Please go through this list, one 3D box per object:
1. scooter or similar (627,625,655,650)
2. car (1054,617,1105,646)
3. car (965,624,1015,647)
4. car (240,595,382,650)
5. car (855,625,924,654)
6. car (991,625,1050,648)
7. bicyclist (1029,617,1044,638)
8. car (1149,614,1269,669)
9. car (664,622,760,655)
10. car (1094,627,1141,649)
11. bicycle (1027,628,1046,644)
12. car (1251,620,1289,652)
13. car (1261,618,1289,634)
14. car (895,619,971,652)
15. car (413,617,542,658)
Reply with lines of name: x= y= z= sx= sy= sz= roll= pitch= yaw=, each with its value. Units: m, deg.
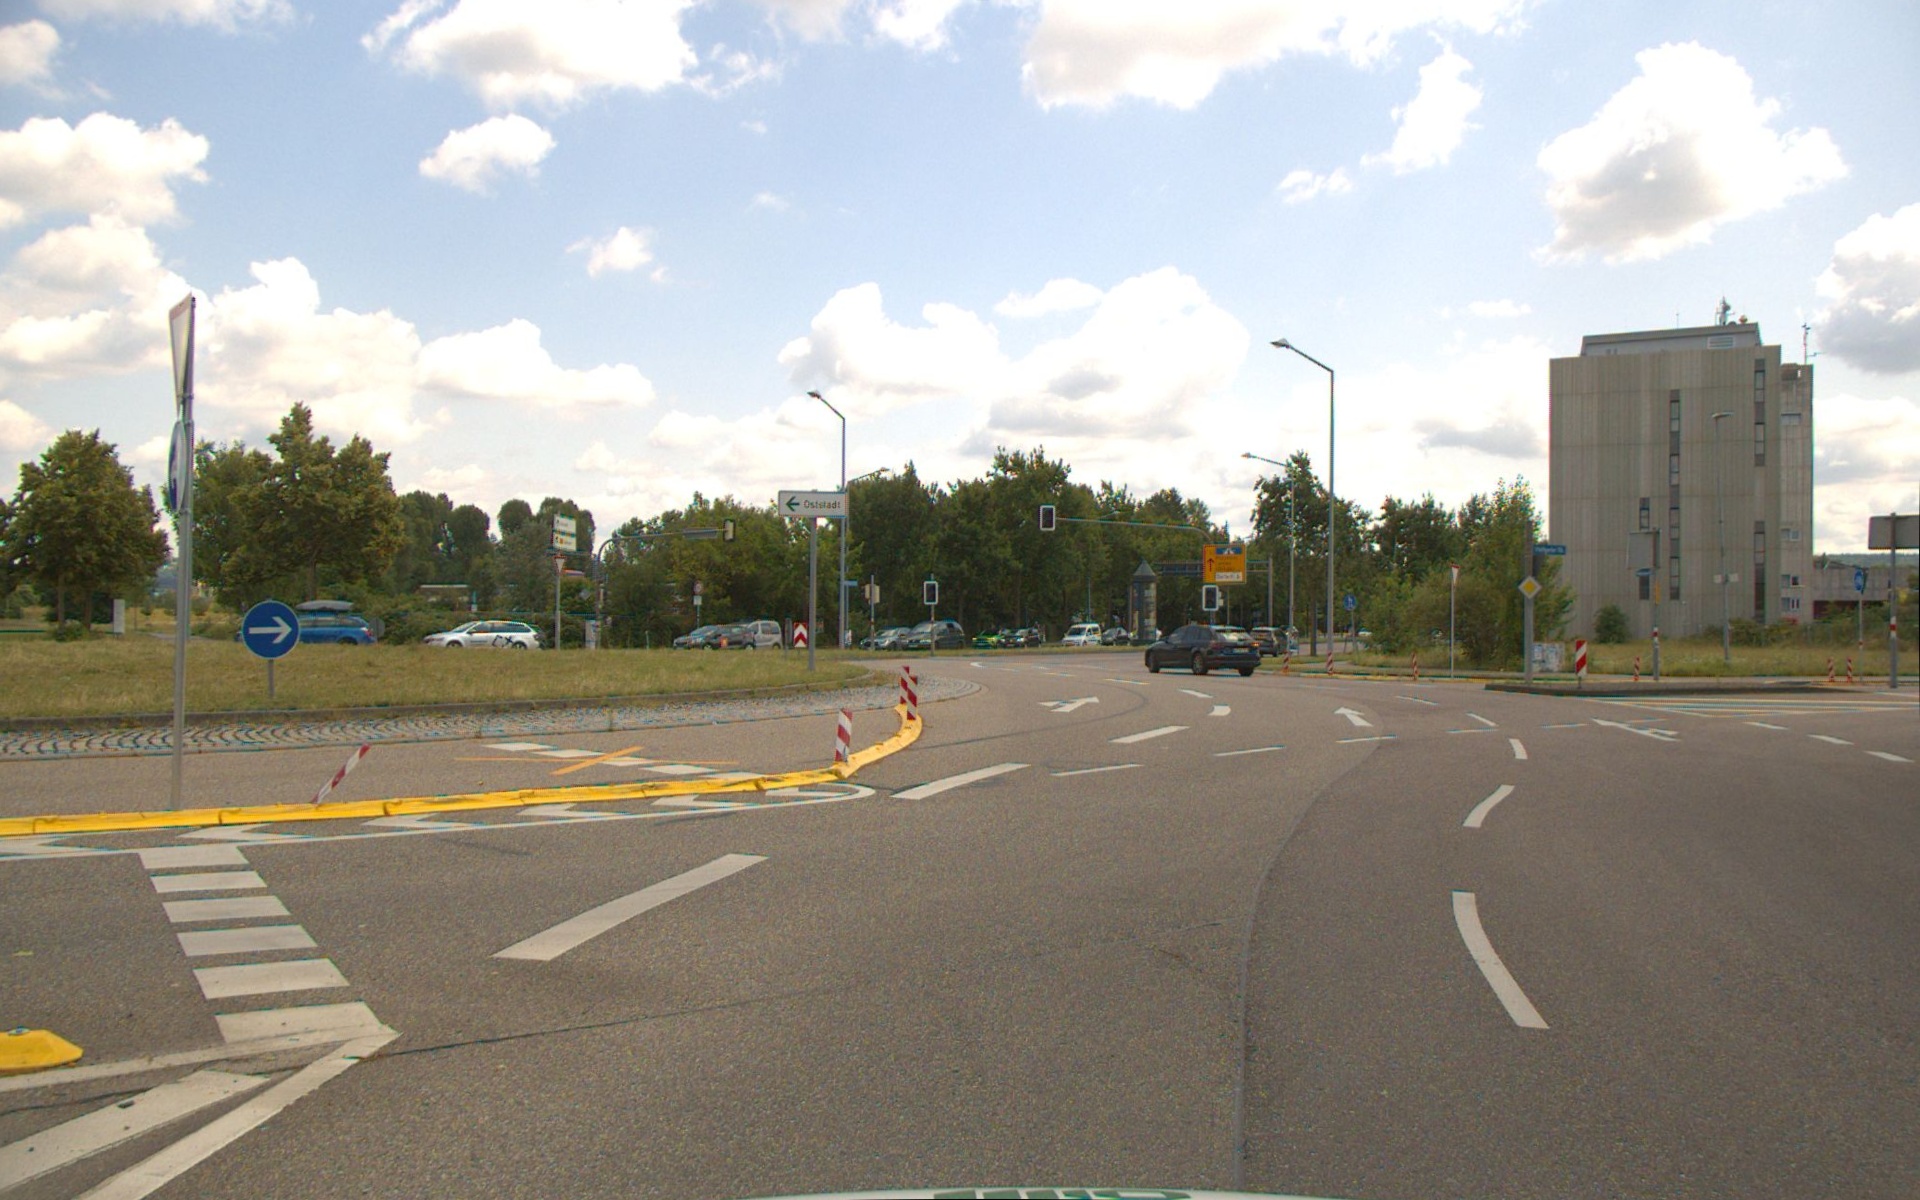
scooter or similar: x=-15.258 y=1.786 z=79.135 sx=0.530 sy=1.186 sz=1.438 roll=0 pitch=-1 yaw=29
car: x=8.109 y=2.142 z=111.681 sx=1.801 sy=1.831 sz=4.783 roll=-2 pitch=-2 yaw=25
car: x=1.919 y=2.259 z=105.401 sx=1.584 sy=1.372 sz=4.167 roll=-2 pitch=-2 yaw=25
car: x=-22.495 y=0.772 z=57.344 sx=4.350 sy=1.830 sz=1.737 roll=1 pitch=0 yaw=-32
car: x=-3.635 y=2.058 z=86.281 sx=1.867 sy=1.448 sz=4.188 roll=0 pitch=-1 yaw=25
car: x=3.790 y=2.264 z=102.707 sx=1.802 sy=1.333 sz=4.781 roll=-2 pitch=-2 yaw=27
bicyclist: x=6.014 y=2.140 z=129.702 sx=0.813 sy=1.592 sz=0.883 roll=2 pitch=0 yaw=25
car: x=7.291 y=1.187 z=48.740 sx=1.661 sy=1.489 sz=3.971 roll=2 pitch=-1 yaw=-23
car: x=-11.035 y=1.707 z=73.809 sx=3.949 sy=1.364 sz=1.773 roll=0 pitch=-2 yaw=-44
car: x=11.147 y=2.691 z=116.904 sx=1.801 sy=1.506 sz=4.749 roll=-2 pitch=-2 yaw=25
bicycle: x=5.982 y=2.831 z=129.706 sx=0.746 sy=1.240 sz=2.015 roll=2 pitch=0 yaw=24
car: x=17.398 y=2.003 z=92.805 sx=1.951 sy=1.654 sz=4.313 roll=-1 pitch=0 yaw=12
car: x=33.121 y=2.723 z=173.844 sx=1.728 sy=1.605 sz=5.028 roll=-1 pitch=-1 yaw=24
car: x=-1.322 y=1.787 z=83.568 sx=1.871 sy=1.620 sz=4.585 roll=0 pitch=-1 yaw=28
car: x=-19.033 y=1.450 z=65.330 sx=4.463 sy=1.548 sz=2.094 roll=1 pitch=0 yaw=-39
